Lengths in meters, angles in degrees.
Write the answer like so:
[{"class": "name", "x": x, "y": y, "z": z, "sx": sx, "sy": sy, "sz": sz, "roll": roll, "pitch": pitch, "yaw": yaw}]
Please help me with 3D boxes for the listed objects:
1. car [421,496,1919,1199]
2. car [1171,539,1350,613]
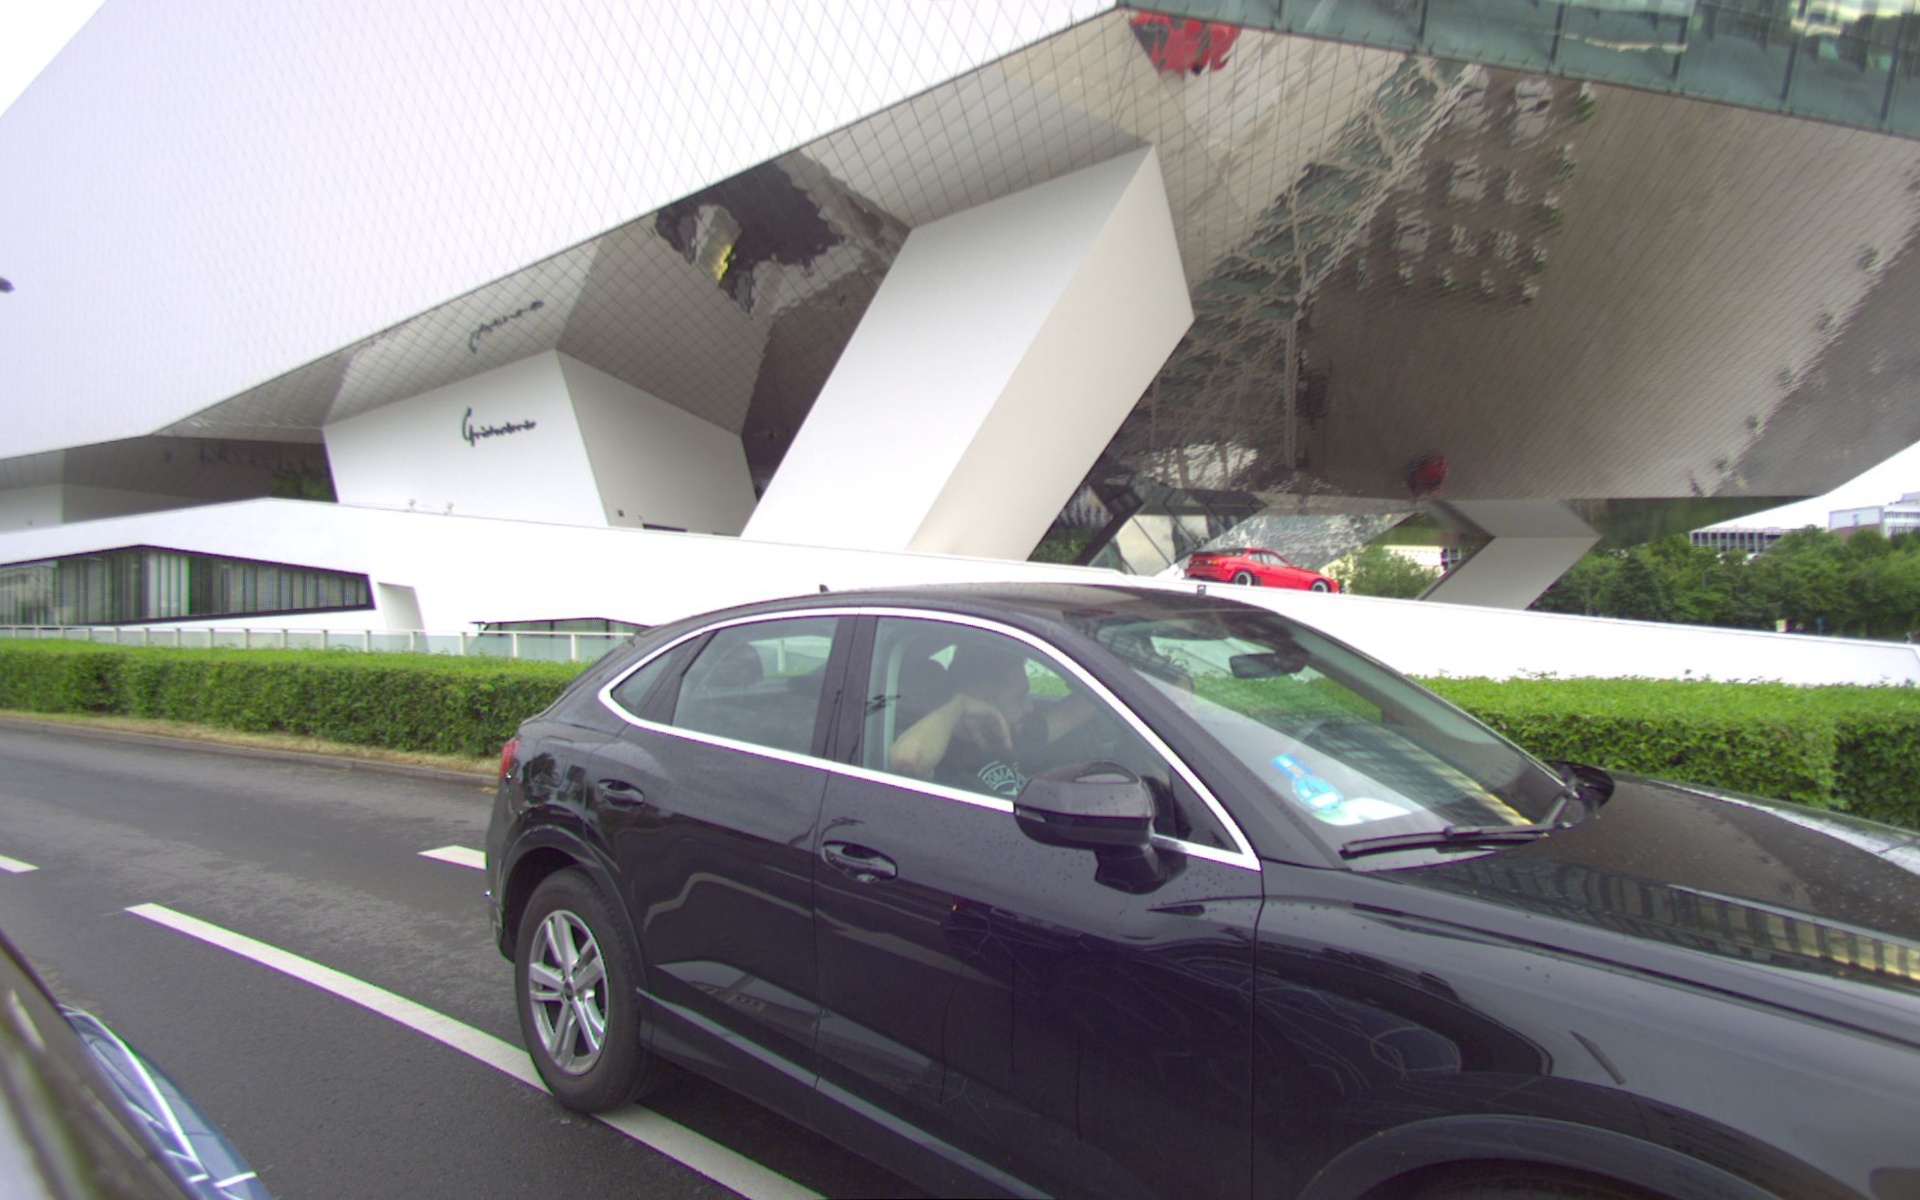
[{"class": "car", "x": 0.385, "y": 0.676, "z": 2.678, "sx": 4.392, "sy": 1.529, "sz": 1.734, "roll": -1, "pitch": -1, "yaw": 41}, {"class": "car", "x": 8.199, "y": -0.608, "z": 27.725, "sx": 4.175, "sy": 1.395, "sz": 2.006, "roll": 7, "pitch": -4, "yaw": -16}]
